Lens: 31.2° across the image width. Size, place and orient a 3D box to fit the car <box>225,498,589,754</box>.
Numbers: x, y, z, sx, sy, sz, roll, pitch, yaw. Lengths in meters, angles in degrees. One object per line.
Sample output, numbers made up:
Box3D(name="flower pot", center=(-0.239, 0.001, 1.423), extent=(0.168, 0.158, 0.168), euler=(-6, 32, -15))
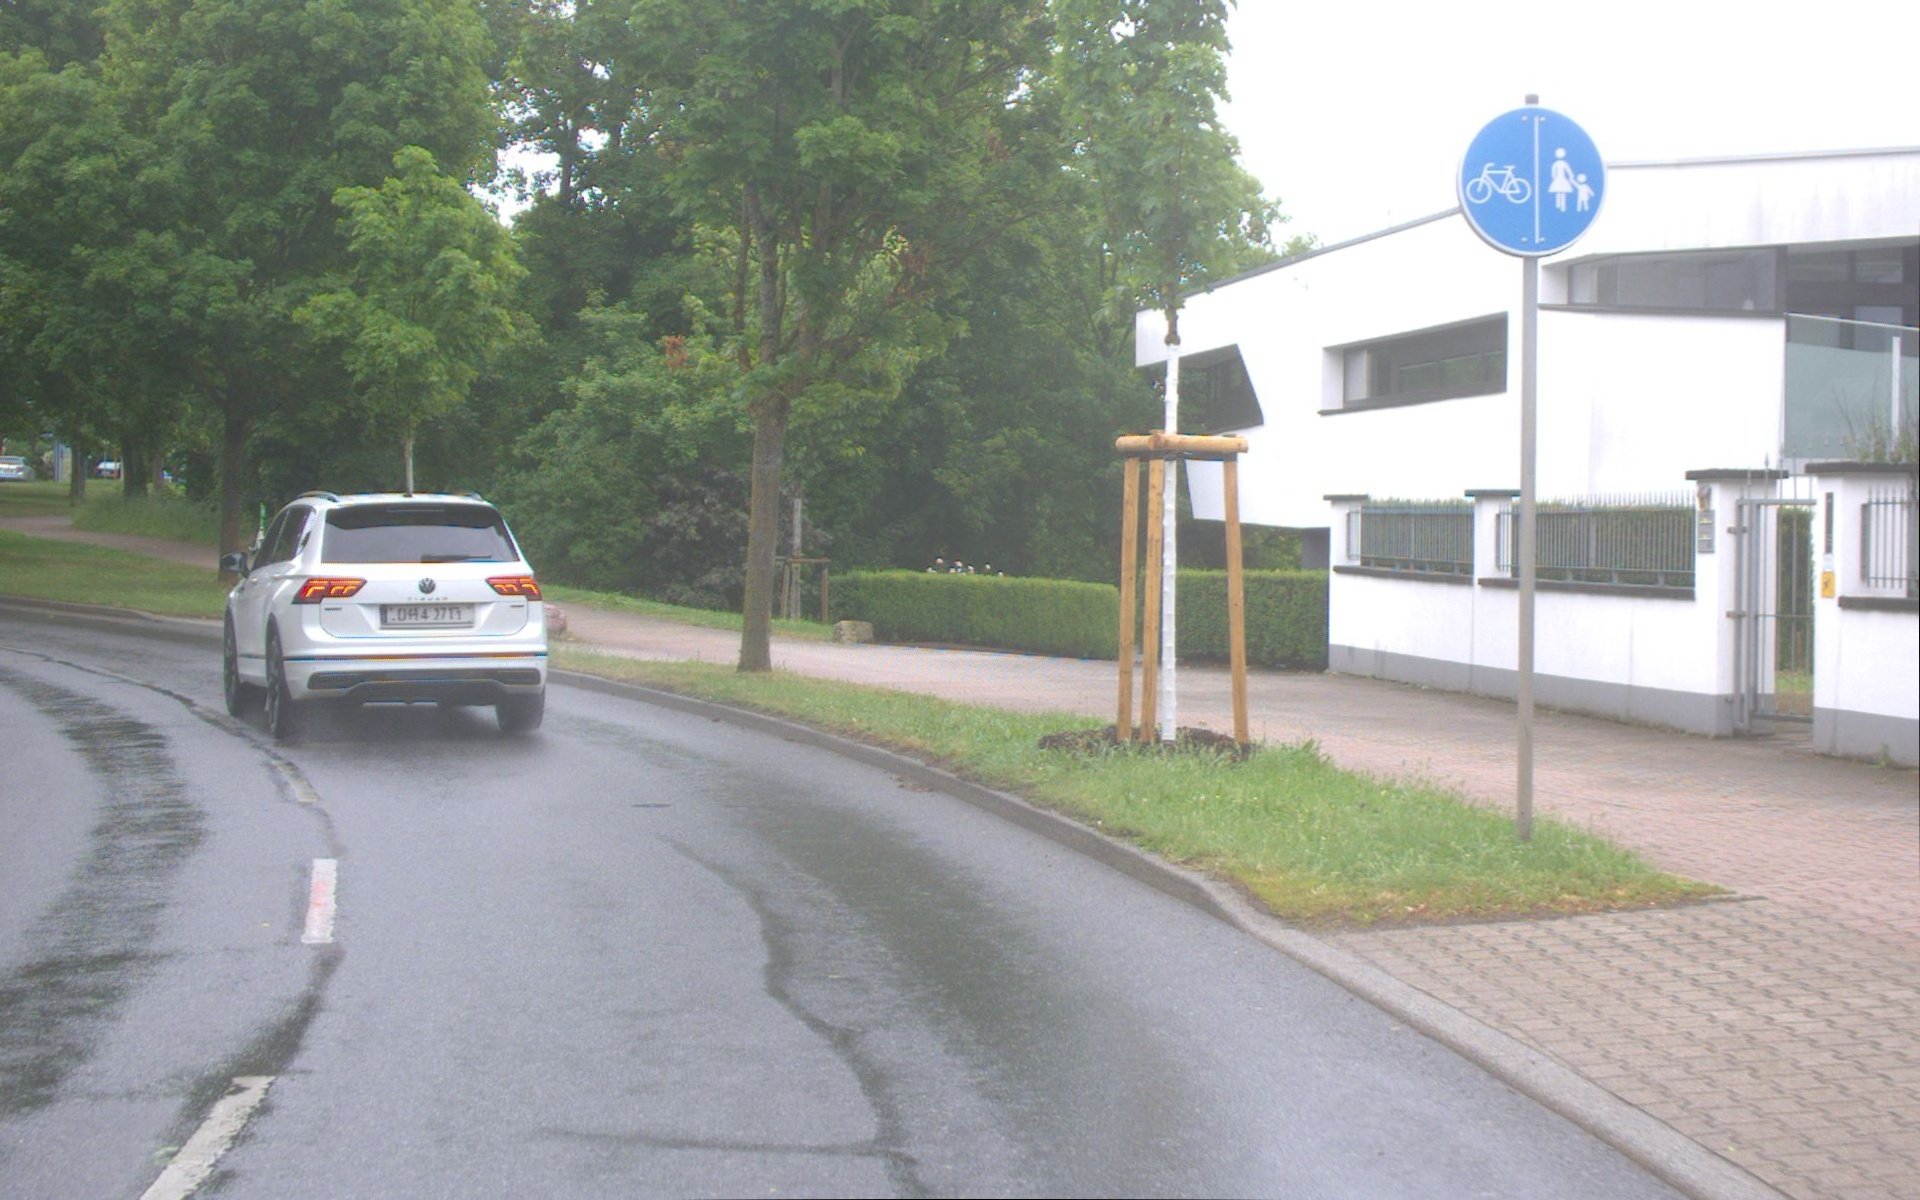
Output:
Box3D(name="car", center=(-4.028, 0.130, 24.464), extent=(1.973, 1.647, 4.178), euler=(0, 1, -17))

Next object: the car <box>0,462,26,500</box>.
Box3D(name="car", center=(-48.401, -6.016, 173.673), extent=(1.993, 1.801, 4.001), euler=(3, 0, -11))

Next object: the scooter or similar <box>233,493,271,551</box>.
Box3D(name="scooter or similar", center=(-14.268, -1.581, 69.257), extent=(0.463, 1.142, 1.301), euler=(-1, 3, -25))
